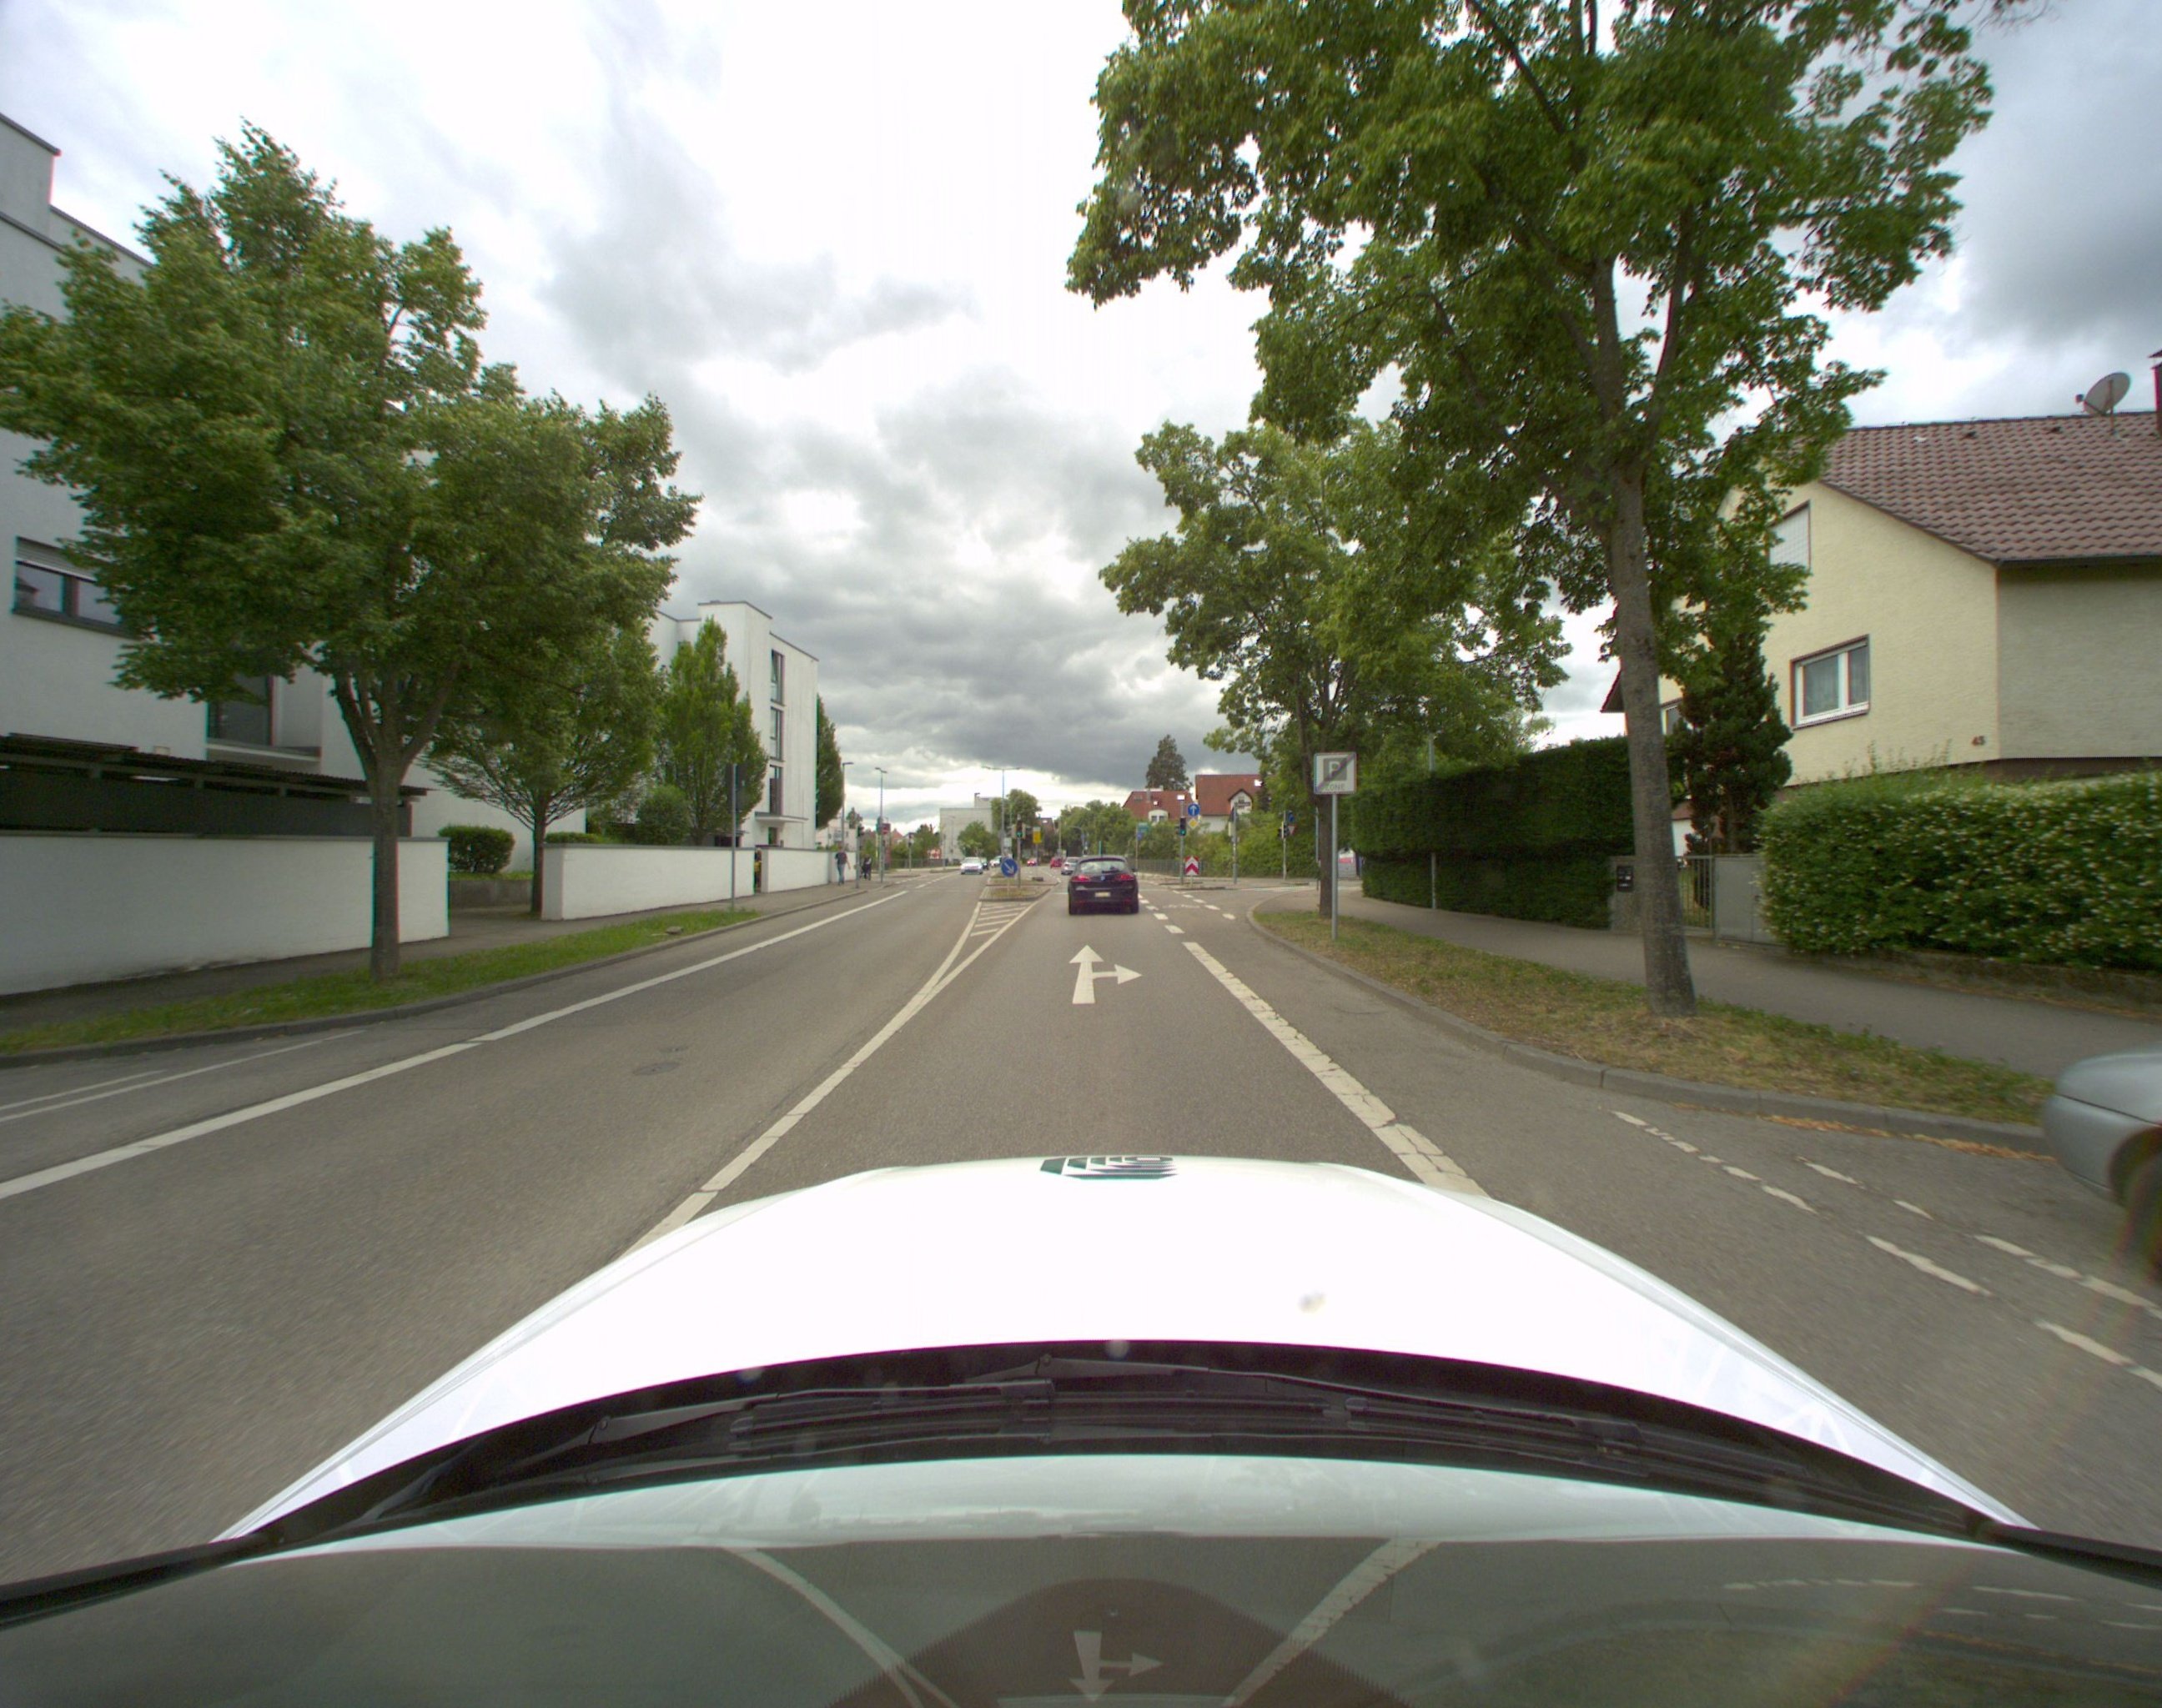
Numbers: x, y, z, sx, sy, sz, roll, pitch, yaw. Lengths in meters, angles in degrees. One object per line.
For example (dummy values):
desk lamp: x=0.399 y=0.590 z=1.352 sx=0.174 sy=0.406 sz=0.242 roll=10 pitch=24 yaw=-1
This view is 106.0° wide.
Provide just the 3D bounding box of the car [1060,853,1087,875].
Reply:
car: x=-0.626 y=0.788 z=67.126 sx=1.817 sy=1.699 sz=4.244 roll=-1 pitch=0 yaw=-6

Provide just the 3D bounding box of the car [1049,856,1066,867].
car: x=-3.203 y=0.985 z=109.011 sx=1.939 sy=1.481 sz=4.244 roll=-1 pitch=0 yaw=-6

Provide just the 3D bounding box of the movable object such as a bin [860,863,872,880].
movable object such as a bin: x=-12.482 y=1.018 z=47.271 sx=0.496 sy=0.960 sz=0.984 roll=4 pitch=-1 yaw=-6

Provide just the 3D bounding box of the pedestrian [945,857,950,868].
pedestrian: x=-19.776 y=1.198 z=120.930 sx=0.656 sy=1.633 sz=1.067 roll=1 pitch=-1 yaw=-10

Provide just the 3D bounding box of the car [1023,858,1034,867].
car: x=-9.065 y=1.501 z=139.326 sx=1.718 sy=1.448 sz=4.058 roll=0 pitch=-1 yaw=-6

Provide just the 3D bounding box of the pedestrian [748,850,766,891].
pedestrian: x=-13.613 y=0.687 z=34.251 sx=0.526 sy=1.699 sz=0.603 roll=0 pitch=-1 yaw=-2

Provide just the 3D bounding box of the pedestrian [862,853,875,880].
pedestrian: x=-12.554 y=0.747 z=48.087 sx=0.531 sy=1.543 sz=0.730 roll=5 pitch=-1 yaw=-7

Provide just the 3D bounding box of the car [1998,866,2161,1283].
car: x=4.298 y=0.723 z=1.372 sx=1.552 sy=1.351 sz=3.541 roll=-2 pitch=0 yaw=1

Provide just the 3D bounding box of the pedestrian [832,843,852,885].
pedestrian: x=-11.430 y=0.471 z=38.981 sx=0.647 sy=1.948 sz=0.870 roll=2 pitch=-1 yaw=-4

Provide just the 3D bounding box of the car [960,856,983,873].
car: x=-9.182 y=0.878 z=68.755 sx=1.796 sy=1.444 sz=3.940 roll=-1 pitch=0 yaw=-6

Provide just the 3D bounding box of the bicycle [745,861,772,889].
bicycle: x=-13.618 y=0.874 z=34.399 sx=0.507 sy=1.163 sz=1.653 roll=-1 pitch=0 yaw=-2

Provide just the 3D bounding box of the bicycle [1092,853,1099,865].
bicycle: x=1.865 y=0.666 z=102.404 sx=0.888 sy=1.510 sz=2.784 roll=-1 pitch=0 yaw=1

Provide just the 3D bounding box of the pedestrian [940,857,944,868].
pedestrian: x=-20.632 y=1.201 z=120.829 sx=0.656 sy=1.633 sz=0.830 roll=1 pitch=-1 yaw=-10

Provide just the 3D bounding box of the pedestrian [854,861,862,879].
pedestrian: x=-13.143 y=0.949 z=48.000 sx=0.325 sy=1.062 sz=0.443 roll=3 pitch=-1 yaw=-6

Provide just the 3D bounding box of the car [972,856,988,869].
car: x=-11.301 y=0.934 z=91.178 sx=1.718 sy=1.391 sz=3.910 roll=1 pitch=-1 yaw=-6

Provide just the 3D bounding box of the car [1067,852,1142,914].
car: x=0.541 y=0.684 z=21.042 sx=1.754 sy=1.449 sz=3.713 roll=-1 pitch=0 yaw=-1
